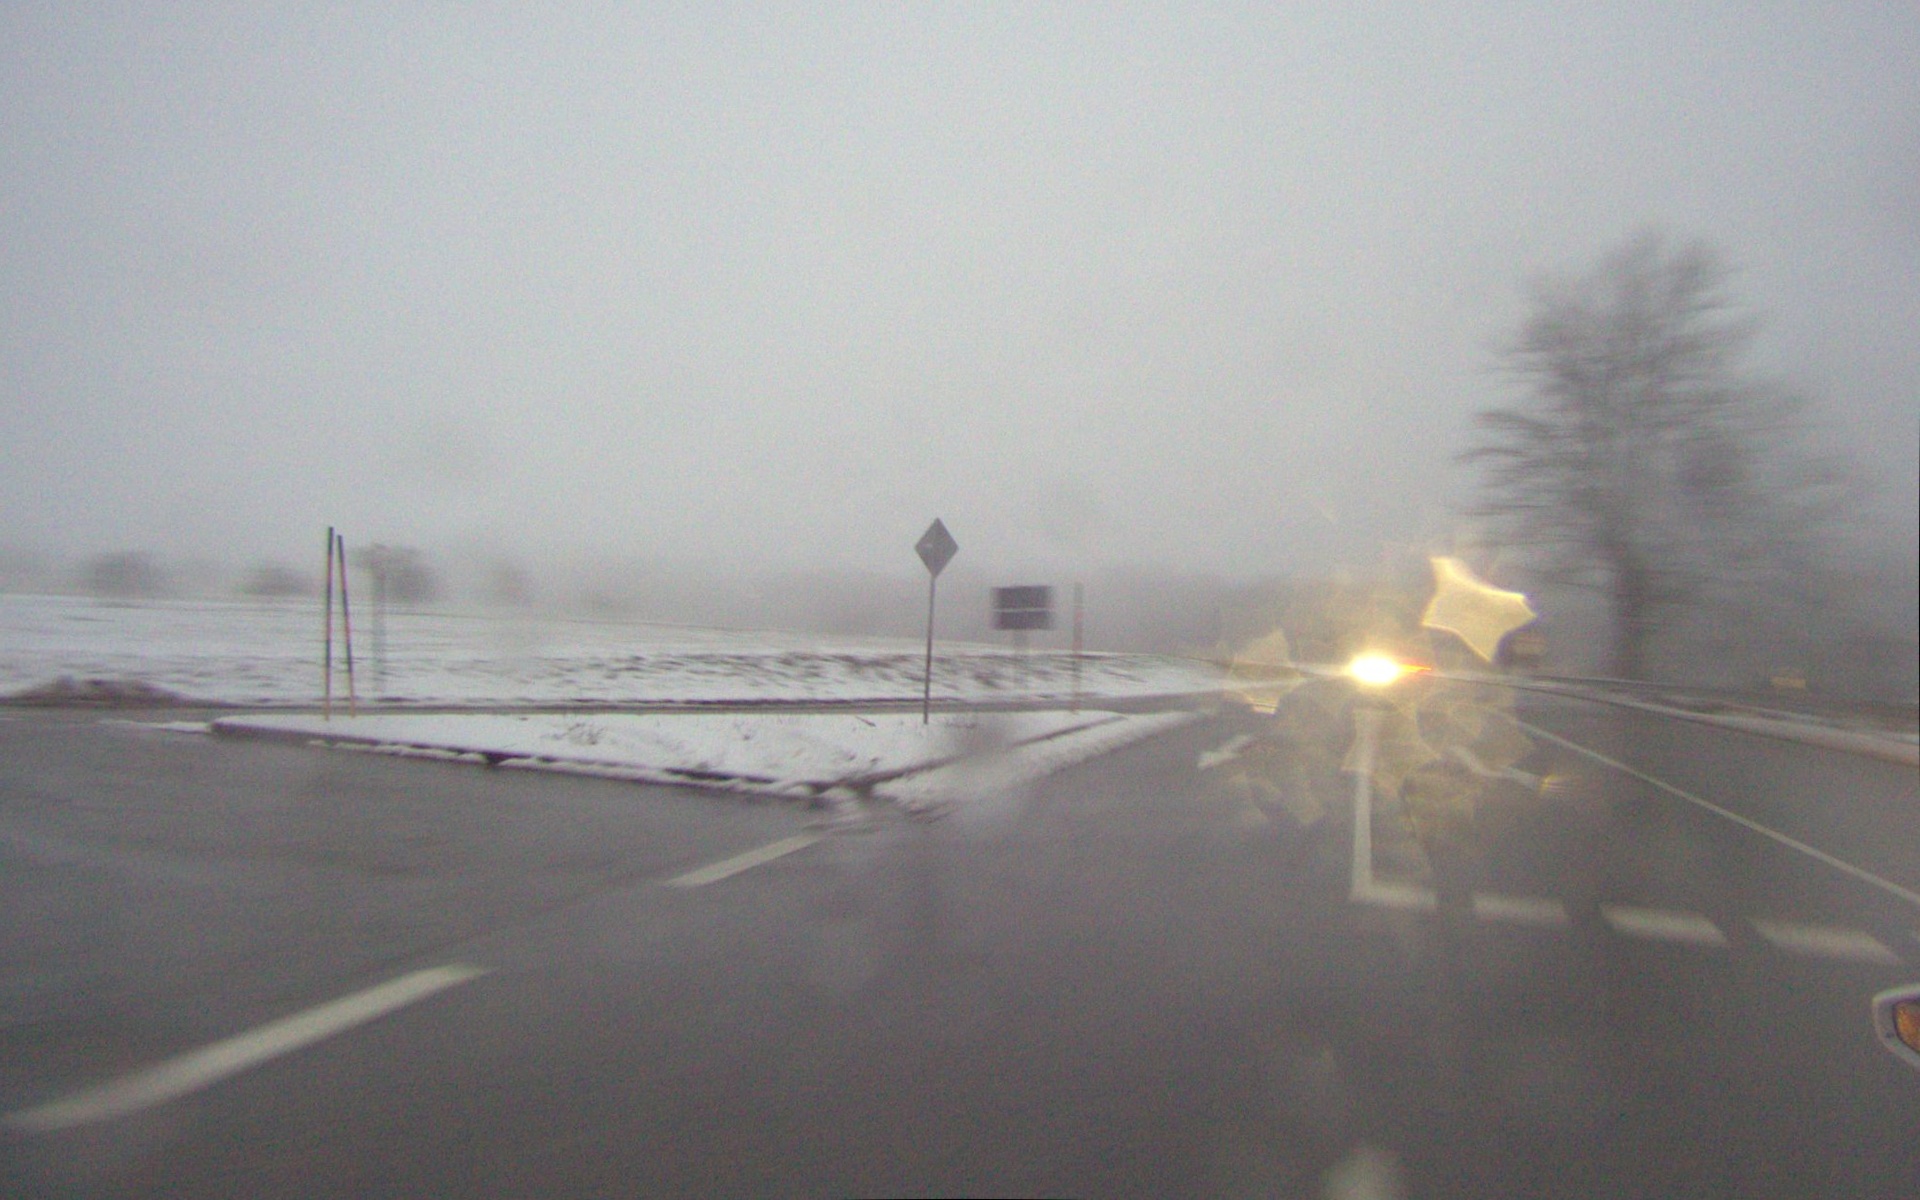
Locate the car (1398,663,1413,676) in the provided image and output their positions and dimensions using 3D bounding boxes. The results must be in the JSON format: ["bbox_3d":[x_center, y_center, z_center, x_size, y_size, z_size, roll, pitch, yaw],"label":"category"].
[{"bbox_3d":[55.717,8.686,125.652,1.665,1.572,3.854,1,-2,24],"label":"car"}]
